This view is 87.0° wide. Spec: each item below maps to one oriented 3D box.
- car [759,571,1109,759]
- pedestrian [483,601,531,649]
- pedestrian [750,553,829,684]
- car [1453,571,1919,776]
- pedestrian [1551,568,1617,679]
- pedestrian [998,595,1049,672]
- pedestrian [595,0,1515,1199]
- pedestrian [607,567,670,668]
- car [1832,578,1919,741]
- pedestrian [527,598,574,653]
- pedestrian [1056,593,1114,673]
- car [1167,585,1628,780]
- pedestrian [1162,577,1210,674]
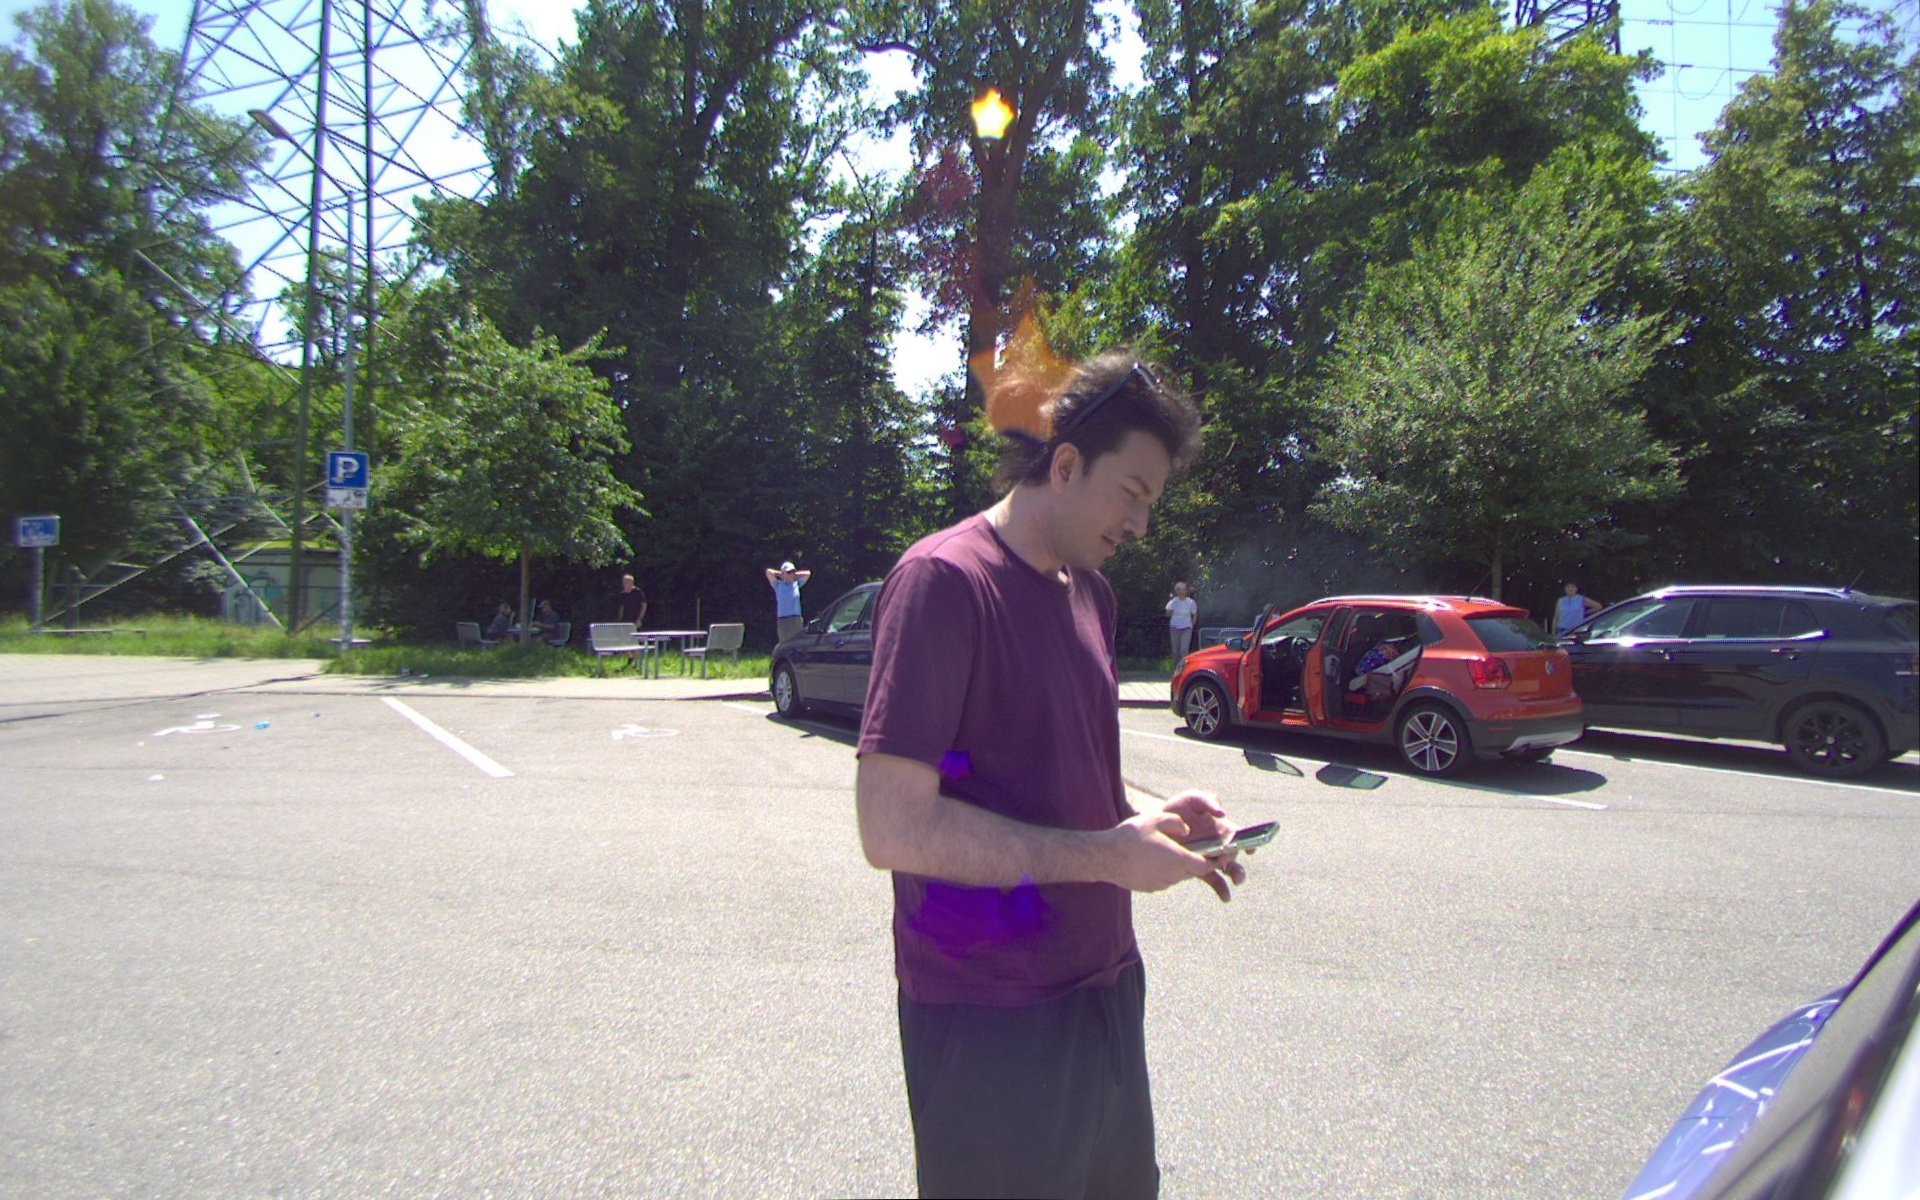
[{"bbox_3d":[-0.472,0.542,10.723,1.809,1.588,4.017,1,0,-35],"label":"car"},{"bbox_3d":[-10.289,0.566,22.971,0.796,1.062,0.714,1,-1,-43],"label":"pedestrian"},{"bbox_3d":[-2.414,0.250,14.297,0.786,1.784,0.809,1,-1,-39],"label":"pedestrian"},{"bbox_3d":[7.220,0.575,9.861,1.807,1.612,3.967,1,0,-38],"label":"car"},{"bbox_3d":[9.372,0.343,15.192,0.712,1.614,0.797,0,-1,42],"label":"pedestrian"},{"bbox_3d":[1.072,0.557,17.152,0.656,1.285,0.655,1,-1,-17],"label":"pedestrian"},{"bbox_3d":[0.144,0.447,1.353,0.828,1.797,0.926,0,-1,45],"label":"pedestrian"},{"bbox_3d":[-6.087,0.323,19.173,0.890,1.851,0.713,1,-1,-44],"label":"pedestrian"},{"bbox_3d":[10.941,0.599,9.408,1.745,1.612,3.972,1,0,-32],"label":"car"},{"bbox_3d":[-9.569,0.577,23.639,0.796,1.253,0.713,1,-1,-44],"label":"pedestrian"},{"bbox_3d":[2.082,0.540,16.913,0.656,1.311,0.832,1,-1,-17],"label":"pedestrian"},{"bbox_3d":[3.938,0.620,9.674,1.746,1.475,3.710,1,0,-33],"label":"car"},{"bbox_3d":[3.884,0.429,17.369,0.764,1.614,0.806,0,-1,15],"label":"pedestrian"}]
